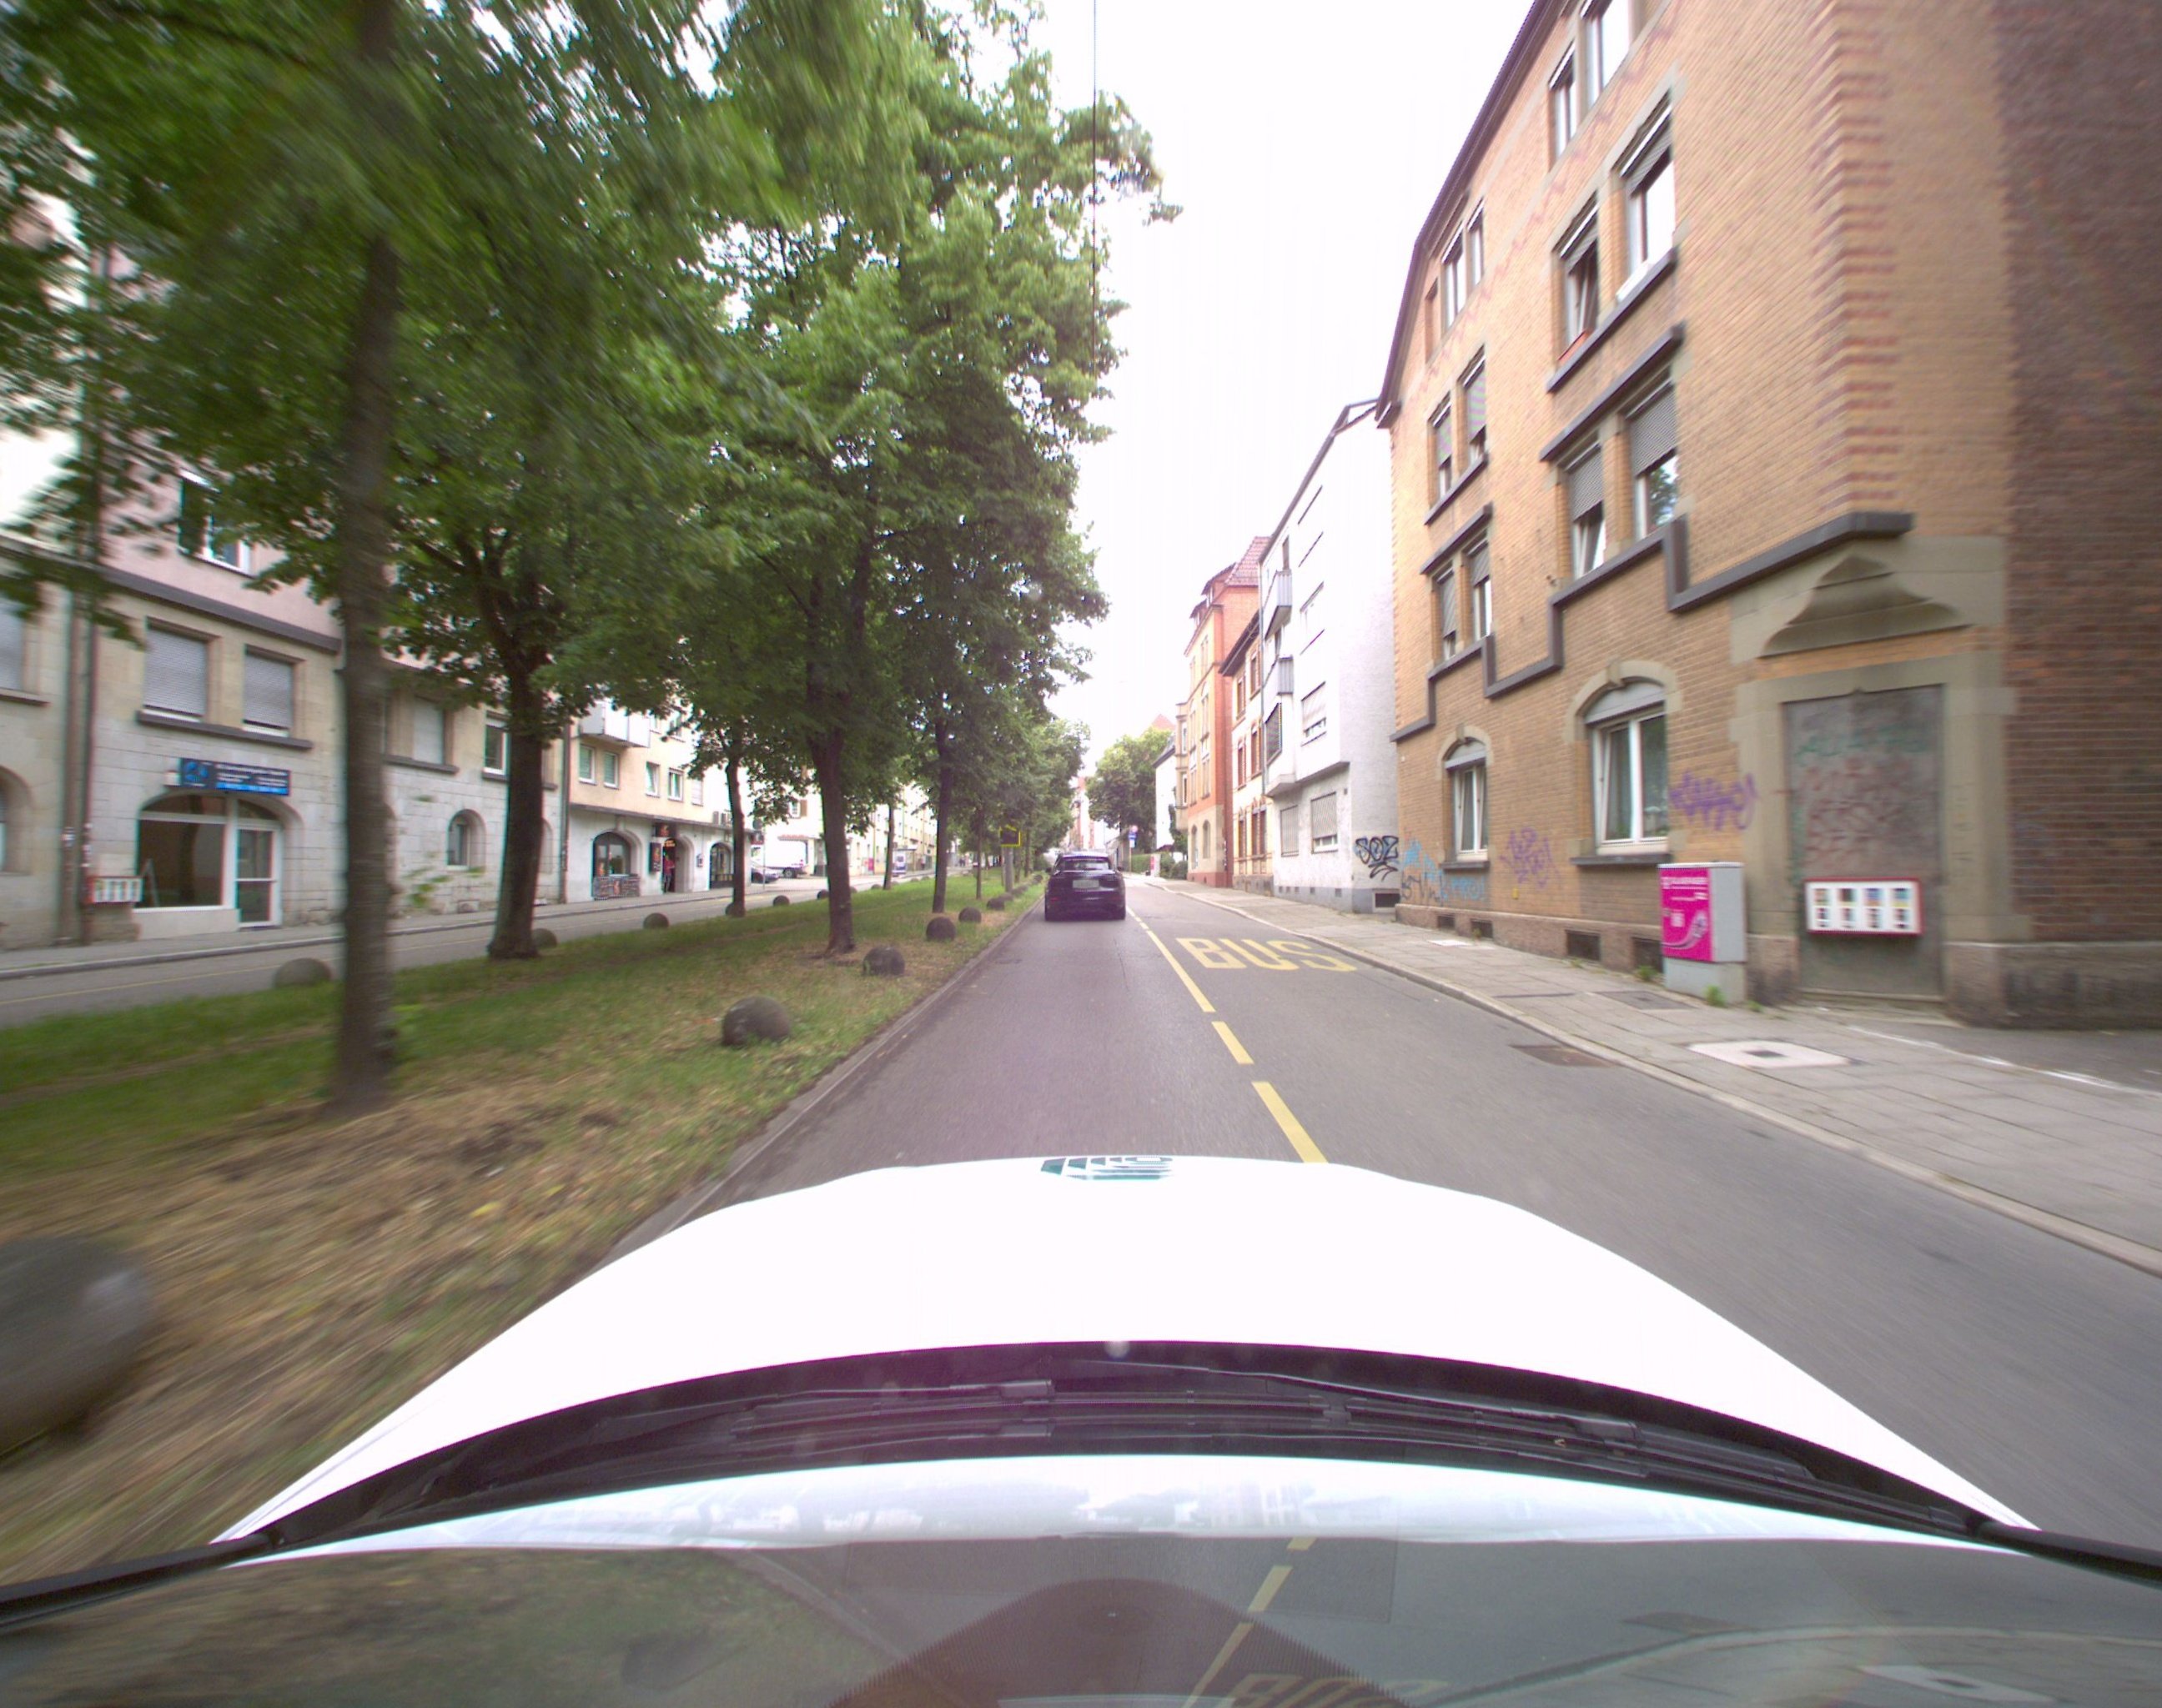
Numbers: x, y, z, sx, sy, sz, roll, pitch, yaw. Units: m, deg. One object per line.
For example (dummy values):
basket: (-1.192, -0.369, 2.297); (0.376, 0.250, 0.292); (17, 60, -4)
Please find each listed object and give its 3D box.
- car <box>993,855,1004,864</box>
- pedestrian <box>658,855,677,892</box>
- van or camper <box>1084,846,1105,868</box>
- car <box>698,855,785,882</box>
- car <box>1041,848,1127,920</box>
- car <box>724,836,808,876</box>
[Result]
car: (-17.645, 1.154, 173.804); (1.945, 1.628, 4.358); (-5, 0, -4)
pedestrian: (-18.962, 0.893, 37.361); (0.530, 1.666, 0.701); (0, -1, 0)
van or camper: (1.784, 0.421, 110.501); (2.474, 2.803, 7.231); (0, -1, -2)
car: (-20.282, 0.866, 48.800); (4.275, 1.420, 2.047); (2, 0, -1)
car: (-0.020, 0.717, 21.100); (1.900, 1.666, 4.129); (0, -1, -4)
car: (-22.130, 0.155, 57.466); (5.174, 2.736, 2.169); (1, -1, -11)
